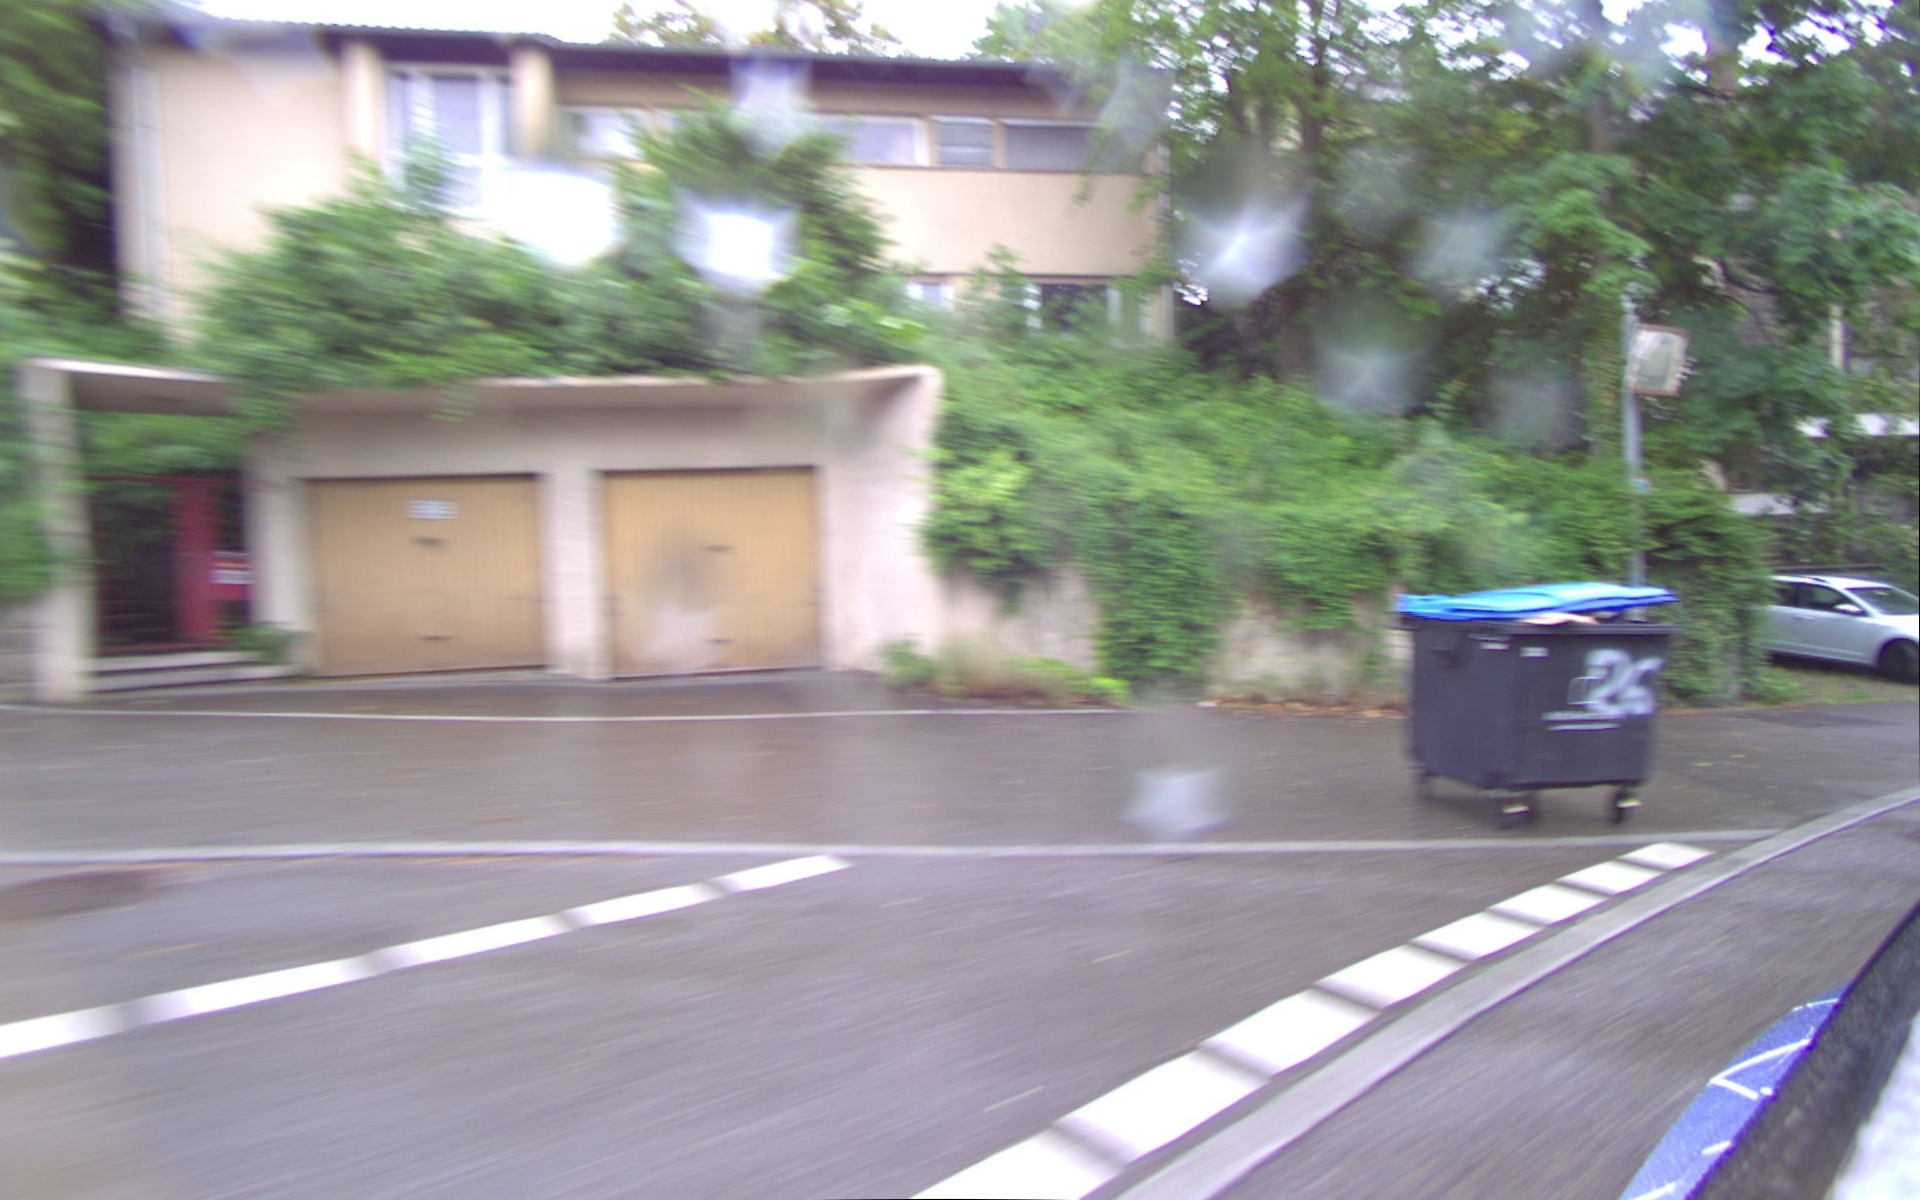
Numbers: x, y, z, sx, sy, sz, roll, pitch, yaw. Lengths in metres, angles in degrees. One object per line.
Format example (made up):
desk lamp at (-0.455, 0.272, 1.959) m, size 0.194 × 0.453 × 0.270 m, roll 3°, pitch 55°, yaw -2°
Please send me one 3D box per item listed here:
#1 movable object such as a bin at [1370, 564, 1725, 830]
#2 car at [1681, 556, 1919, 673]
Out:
movable object such as a bin at (3.567, 0.511, 6.267) m, size 1.453 × 1.426 × 1.162 m, roll 0°, pitch 3°, yaw -15°
car at (14.487, 0.160, 16.159) m, size 1.958 × 1.571 × 4.578 m, roll -1°, pitch 4°, yaw -15°
